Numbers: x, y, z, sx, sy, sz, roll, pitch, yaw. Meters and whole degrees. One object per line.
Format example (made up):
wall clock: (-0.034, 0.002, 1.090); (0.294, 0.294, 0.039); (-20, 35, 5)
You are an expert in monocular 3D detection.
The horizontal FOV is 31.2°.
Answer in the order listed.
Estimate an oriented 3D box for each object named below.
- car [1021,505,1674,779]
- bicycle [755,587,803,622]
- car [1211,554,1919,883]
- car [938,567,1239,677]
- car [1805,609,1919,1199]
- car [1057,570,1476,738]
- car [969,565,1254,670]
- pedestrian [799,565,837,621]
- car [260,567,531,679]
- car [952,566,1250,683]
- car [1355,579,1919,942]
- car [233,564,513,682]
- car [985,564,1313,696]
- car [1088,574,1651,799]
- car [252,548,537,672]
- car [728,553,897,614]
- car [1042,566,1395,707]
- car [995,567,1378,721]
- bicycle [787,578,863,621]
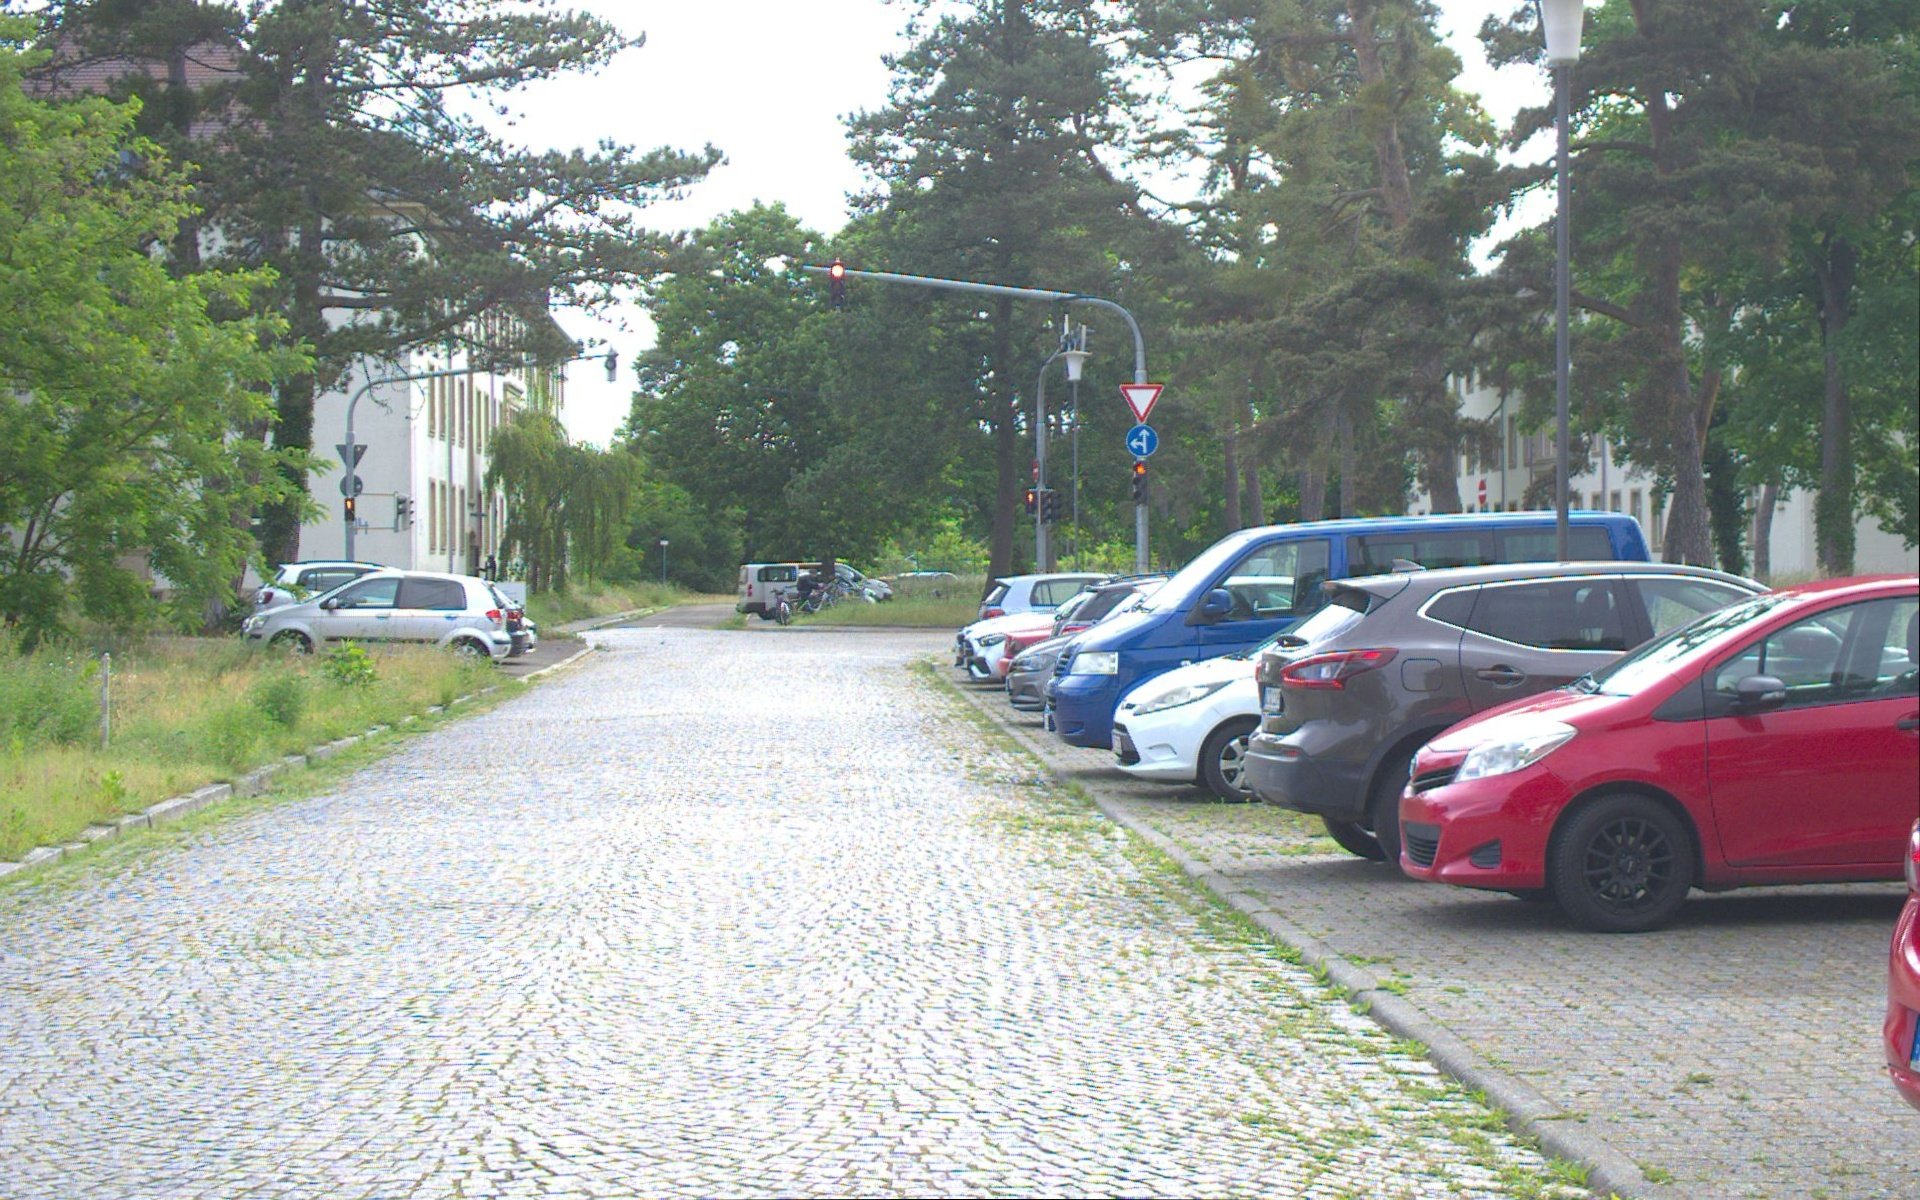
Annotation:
car: (2.958, 0.308, 26.909); (4.753, 1.948, 1.931); (-1, 0, -4)
bicycle: (-5.018, 0.112, 95.301); (0.620, 0.942, 1.663); (1, 0, -30)
car: (3.463, 0.570, 17.953); (4.028, 1.547, 1.751); (-1, 0, -5)
car: (1.773, 0.291, 48.026); (3.967, 1.416, 1.620); (-1, 0, -7)
car: (4.067, 0.716, 7.728); (3.825, 1.455, 1.779); (-1, 0, -3)
car: (2.833, 0.487, 32.189); (3.671, 1.444, 1.524); (-1, 0, -4)
car: (2.212, 0.249, 50.697); (3.967, 1.416, 1.620); (-1, 0, -7)
pedestrian: (-4.131, -0.214, 99.752); (1.033, 1.608, 0.757); (1, 0, -7)
car: (-8.441, 0.333, 51.606); (3.821, 1.567, 1.564); (-1, 0, -3)
car: (1.829, 0.310, 45.170); (3.671, 1.416, 1.524); (-1, 0, -7)
car: (3.797, 0.652, 15.306); (3.792, 1.455, 1.751); (-1, 0, -2)
car: (-8.363, 0.315, 49.190); (3.821, 1.567, 1.565); (-1, 0, -6)
car: (2.209, 0.345, 40.644); (3.671, 1.444, 1.524); (-1, 0, -4)
car: (2.843, 0.582, 24.311); (3.671, 1.444, 1.615); (-1, 0, -5)
car: (-8.939, 0.147, 54.575); (4.262, 1.834, 1.744); (-1, 0, -3)
car: (-5.036, -0.570, 117.297); (5.444, 2.007, 2.269); (1, 0, -11)
car: (2.823, 0.389, 37.961); (3.671, 1.444, 1.524); (-1, 0, -4)
car: (2.271, 0.432, 34.947); (3.671, 1.444, 1.524); (-1, 0, -4)
bicycle: (-3.915, -0.004, 99.419); (2.136, 1.210, 0.622); (1, 0, -7)
